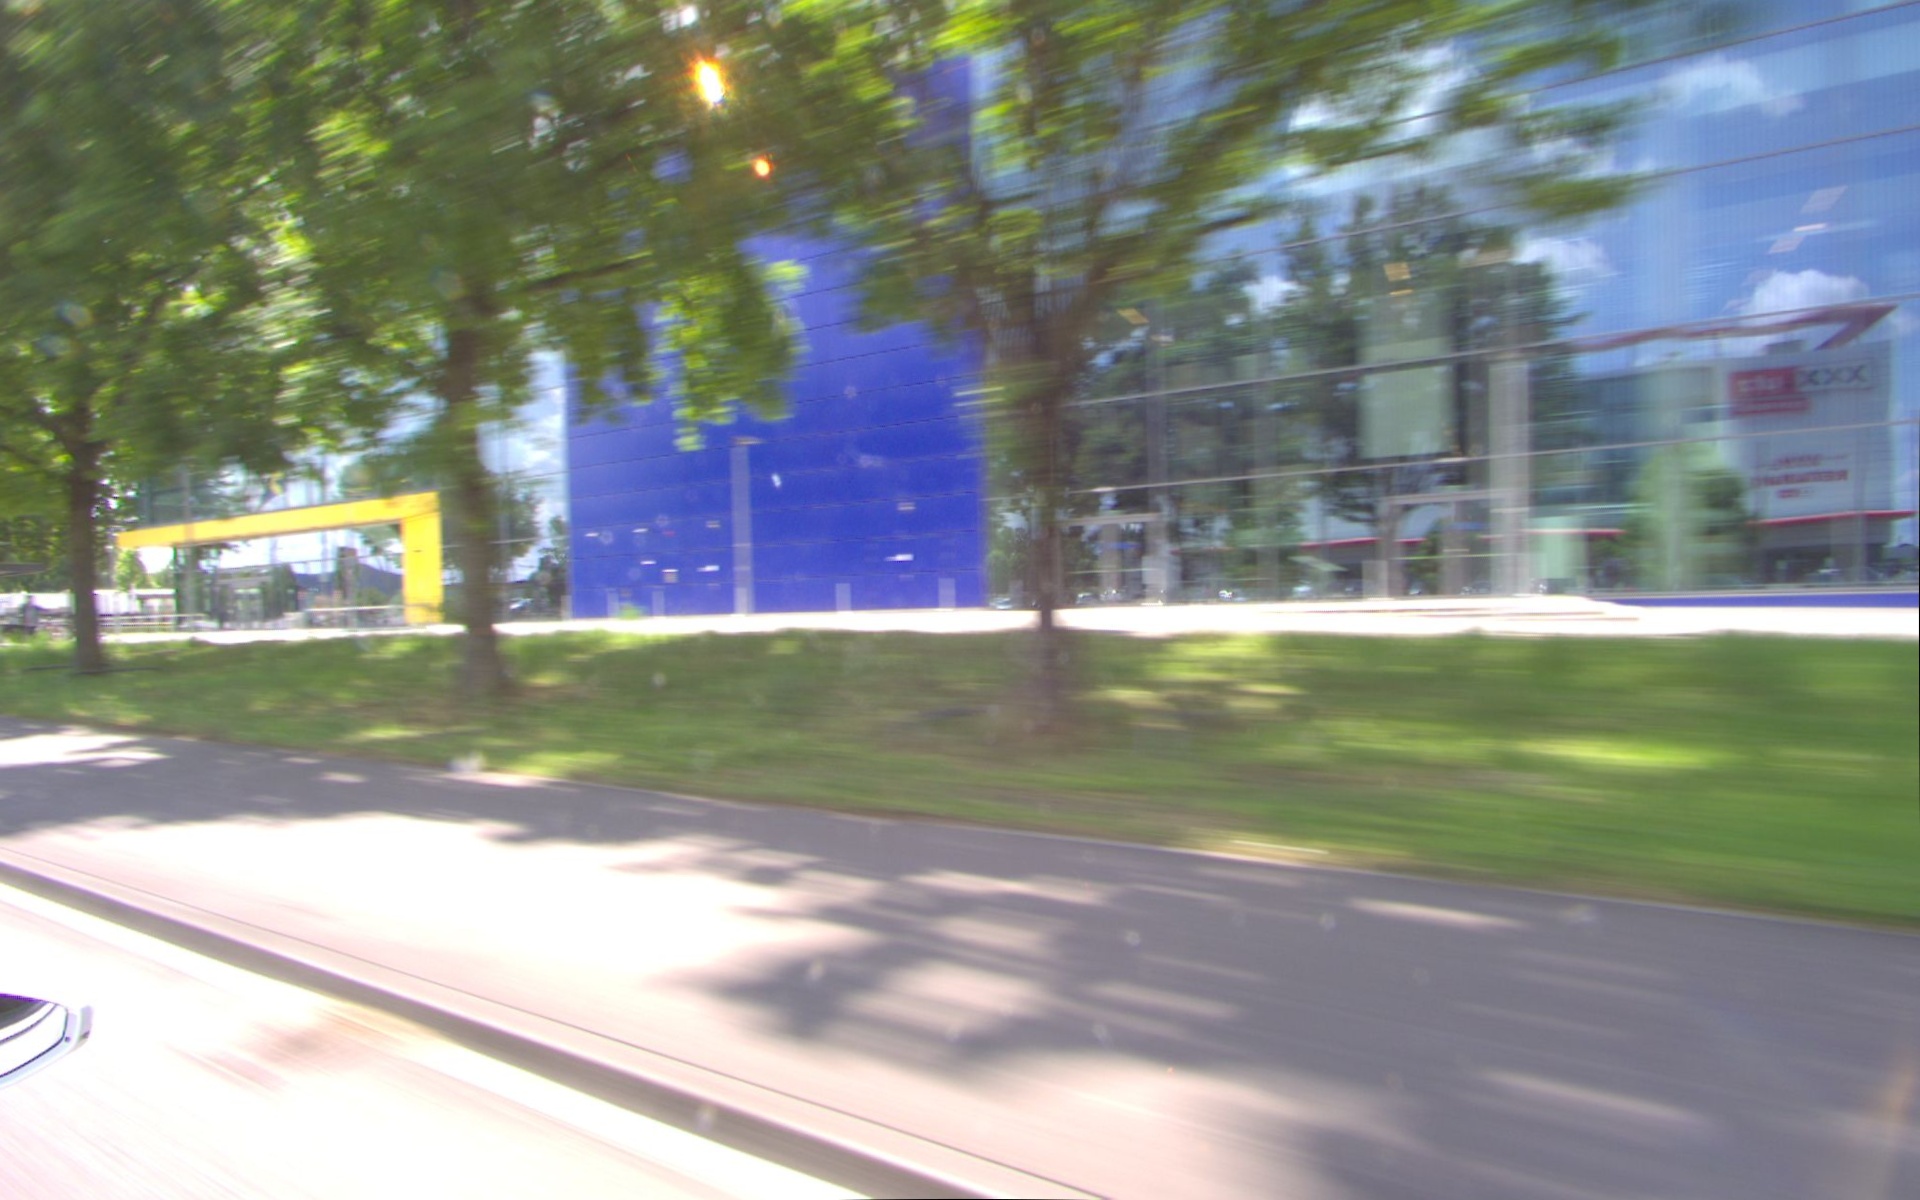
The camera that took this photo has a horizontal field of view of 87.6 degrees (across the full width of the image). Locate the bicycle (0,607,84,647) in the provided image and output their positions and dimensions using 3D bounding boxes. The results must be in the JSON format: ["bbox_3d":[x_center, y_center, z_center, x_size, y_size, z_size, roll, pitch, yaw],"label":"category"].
[{"bbox_3d":[-28.308,0.828,30.747,1.981,1.123,0.575,-3,2,-22],"label":"bicycle"}]

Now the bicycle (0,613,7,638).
[{"bbox_3d":[-44.196,1.172,45.055,0.495,1.123,1.923,-3,1,13],"label":"bicycle"}]

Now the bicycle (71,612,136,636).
[{"bbox_3d":[-33.828,0.935,39.568,0.464,0.894,1.858,0,2,31],"label":"bicycle"}]

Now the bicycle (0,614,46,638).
[{"bbox_3d":[-40.791,1.124,43.258,0.457,1.008,1.861,0,1,26],"label":"bicycle"}]

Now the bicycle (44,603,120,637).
[{"bbox_3d":[-34.963,0.763,39.898,0.712,1.246,2.129,0,2,40],"label":"bicycle"}]

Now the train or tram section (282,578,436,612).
[{"bbox_3d":[-60.939,-0.468,102.207,2.999,3.228,14.046,-1,0,27],"label":"train or tram section"}]

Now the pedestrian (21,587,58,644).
[{"bbox_3d":[-28.625,0.476,31.143,0.624,1.744,0.523,-3,1,-24],"label":"pedestrian"}]

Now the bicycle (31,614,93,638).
[{"bbox_3d":[-36.937,1.074,41.211,0.417,0.894,1.860,-1,2,26],"label":"bicycle"}]

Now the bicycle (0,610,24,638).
[{"bbox_3d":[-42.269,1.069,43.976,0.453,1.173,1.679,0,2,16],"label":"bicycle"}]

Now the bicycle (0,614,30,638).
[{"bbox_3d":[-42.948,1.168,44.828,0.418,1.008,1.857,0,2,32],"label":"bicycle"}]

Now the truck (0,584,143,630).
[{"bbox_3d":[-85.452,0.645,95.012,2.908,4.159,11.937,0,0,31],"label":"truck"}]

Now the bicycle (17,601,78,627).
[{"bbox_3d":[-39.022,0.580,42.841,0.417,1.008,1.860,-2,2,26],"label":"bicycle"}]
